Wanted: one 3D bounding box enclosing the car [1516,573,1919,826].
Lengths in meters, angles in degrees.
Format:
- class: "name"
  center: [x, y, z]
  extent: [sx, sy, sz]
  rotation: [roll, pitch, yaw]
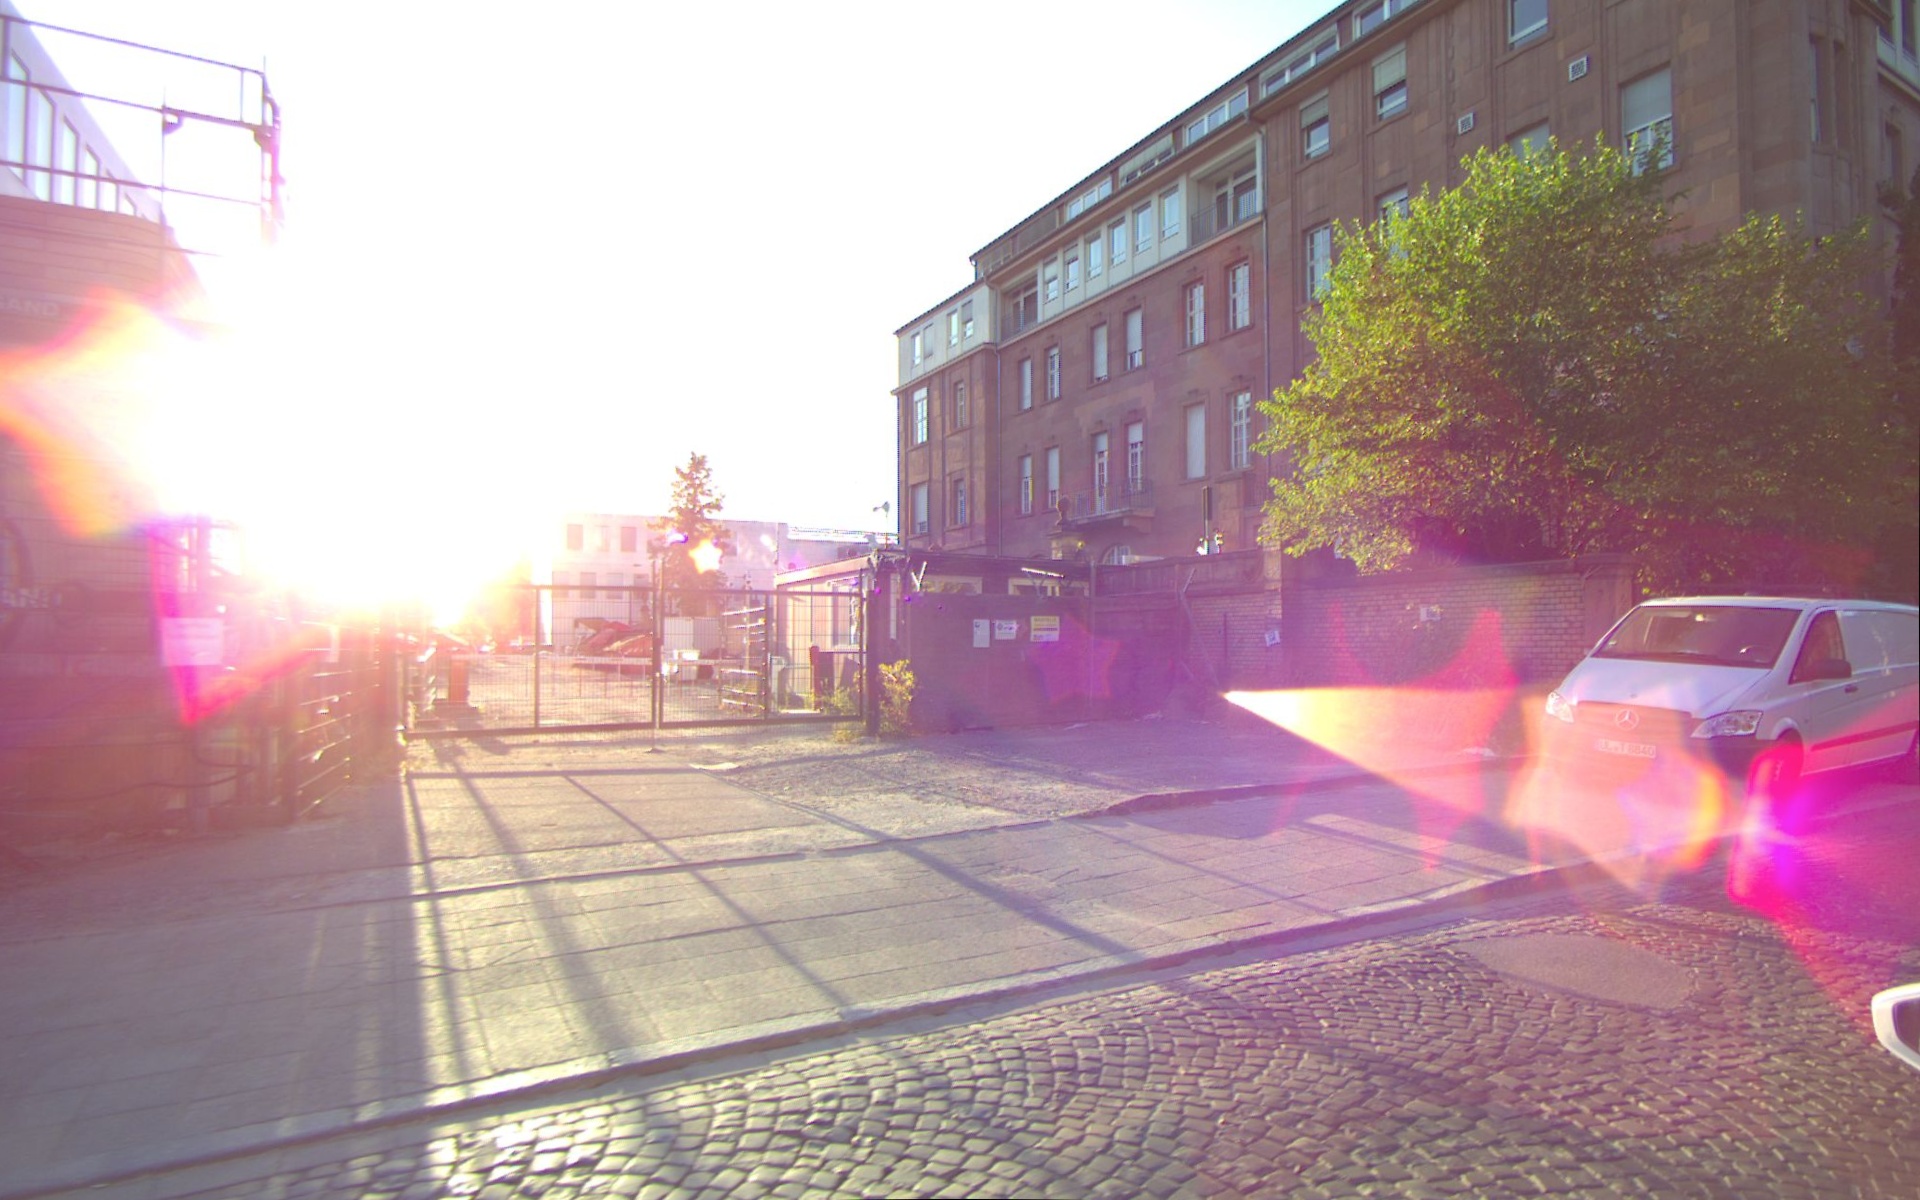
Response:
- class: "car"
  center: [8.061, 0.905, 10.269]
  extent: [5.168, 2.040, 1.873]
  rotation: [3, -1, -32]
